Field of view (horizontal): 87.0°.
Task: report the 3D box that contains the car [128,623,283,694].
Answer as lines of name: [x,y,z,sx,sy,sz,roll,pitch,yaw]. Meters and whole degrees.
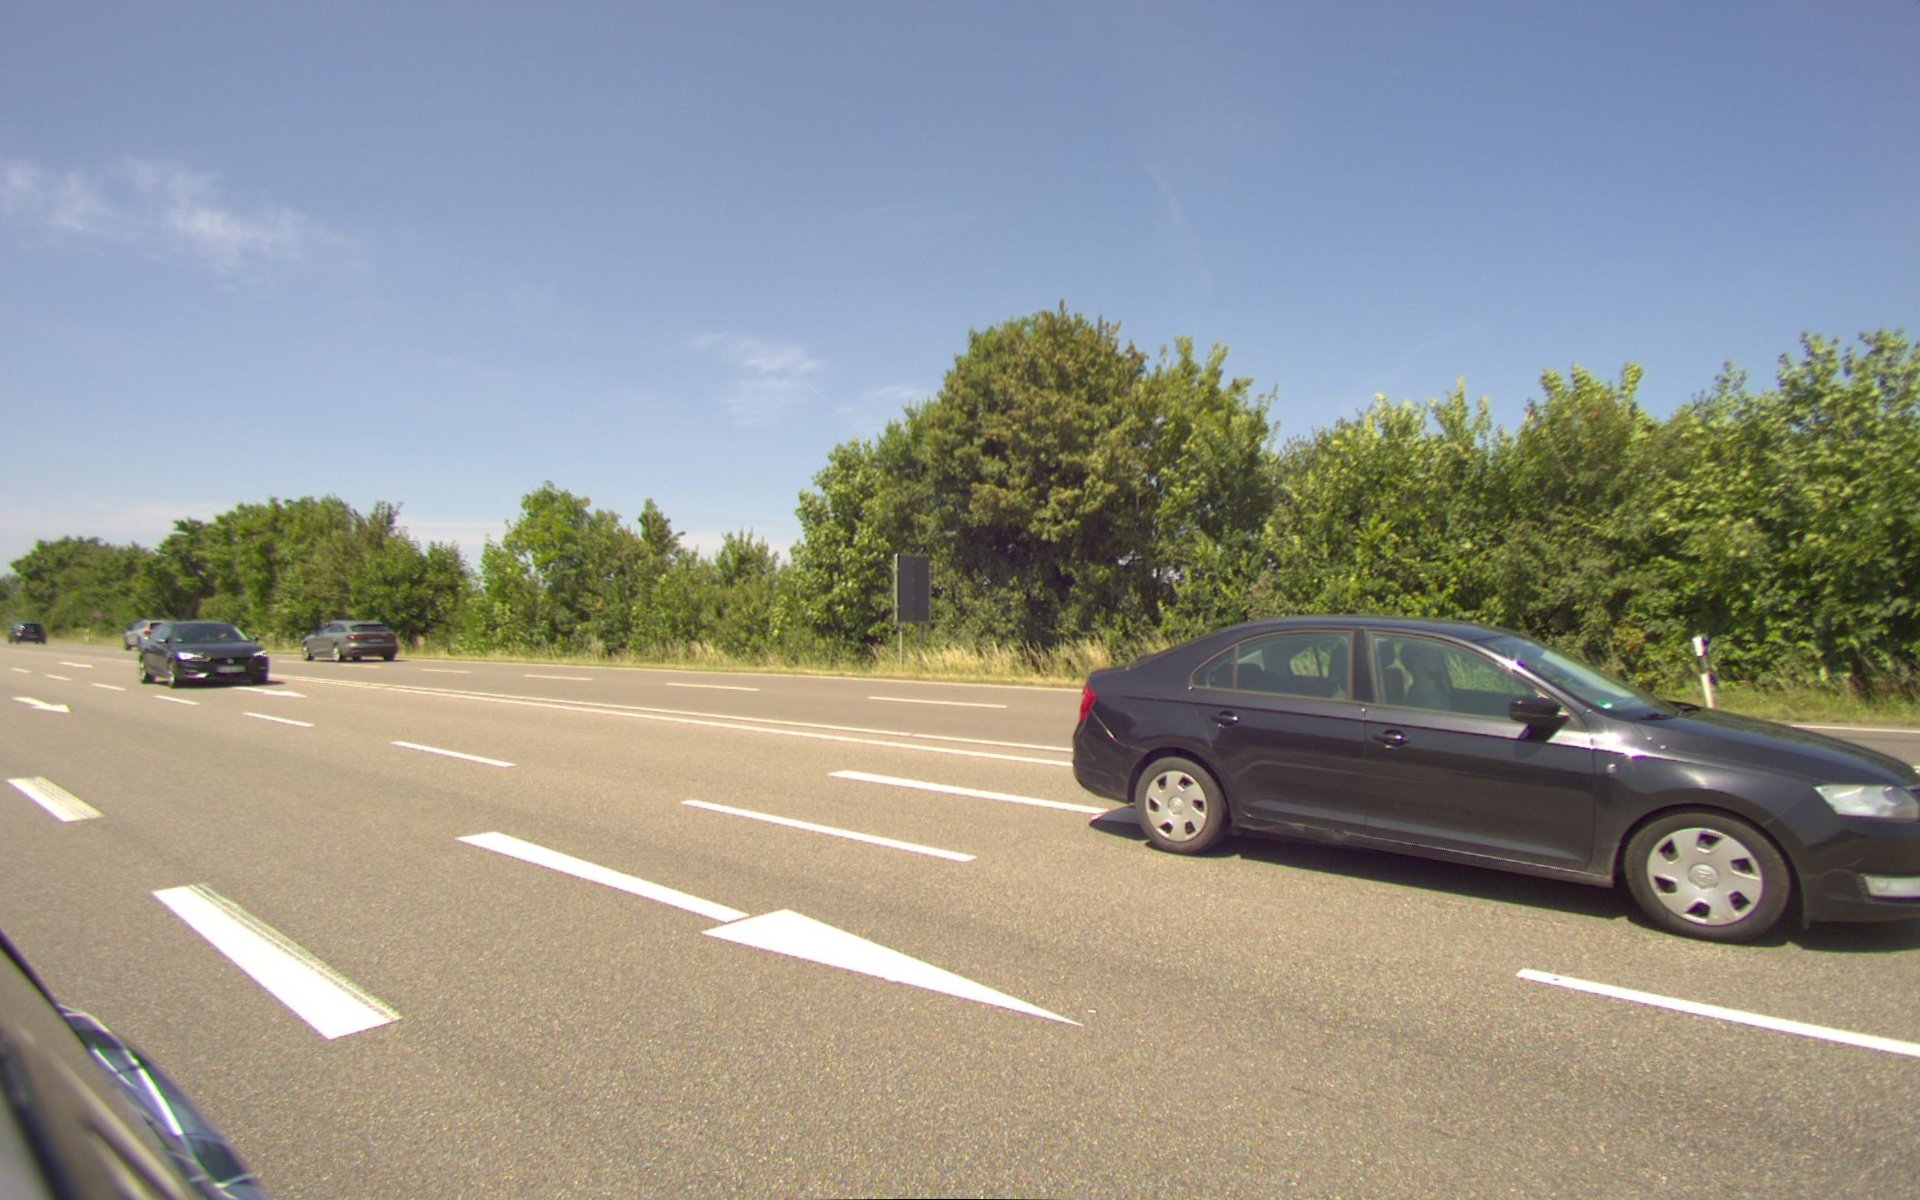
car: [-17.446,1.272,23.322,4.522,1.458,1.870,-1,-1,40]

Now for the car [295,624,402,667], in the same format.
car: [-21.918,1.577,36.224,4.526,1.409,1.860,-1,-1,39]

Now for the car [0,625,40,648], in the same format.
car: [-65.649,2.512,70.616,3.554,1.499,1.629,-1,-1,39]

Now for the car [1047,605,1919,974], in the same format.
car: [2.800,0.777,5.785,4.464,1.422,1.657,-2,-1,40]

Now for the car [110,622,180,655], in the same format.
car: [-43.921,2.045,54.485,4.563,1.652,2.008,-1,-1,39]
